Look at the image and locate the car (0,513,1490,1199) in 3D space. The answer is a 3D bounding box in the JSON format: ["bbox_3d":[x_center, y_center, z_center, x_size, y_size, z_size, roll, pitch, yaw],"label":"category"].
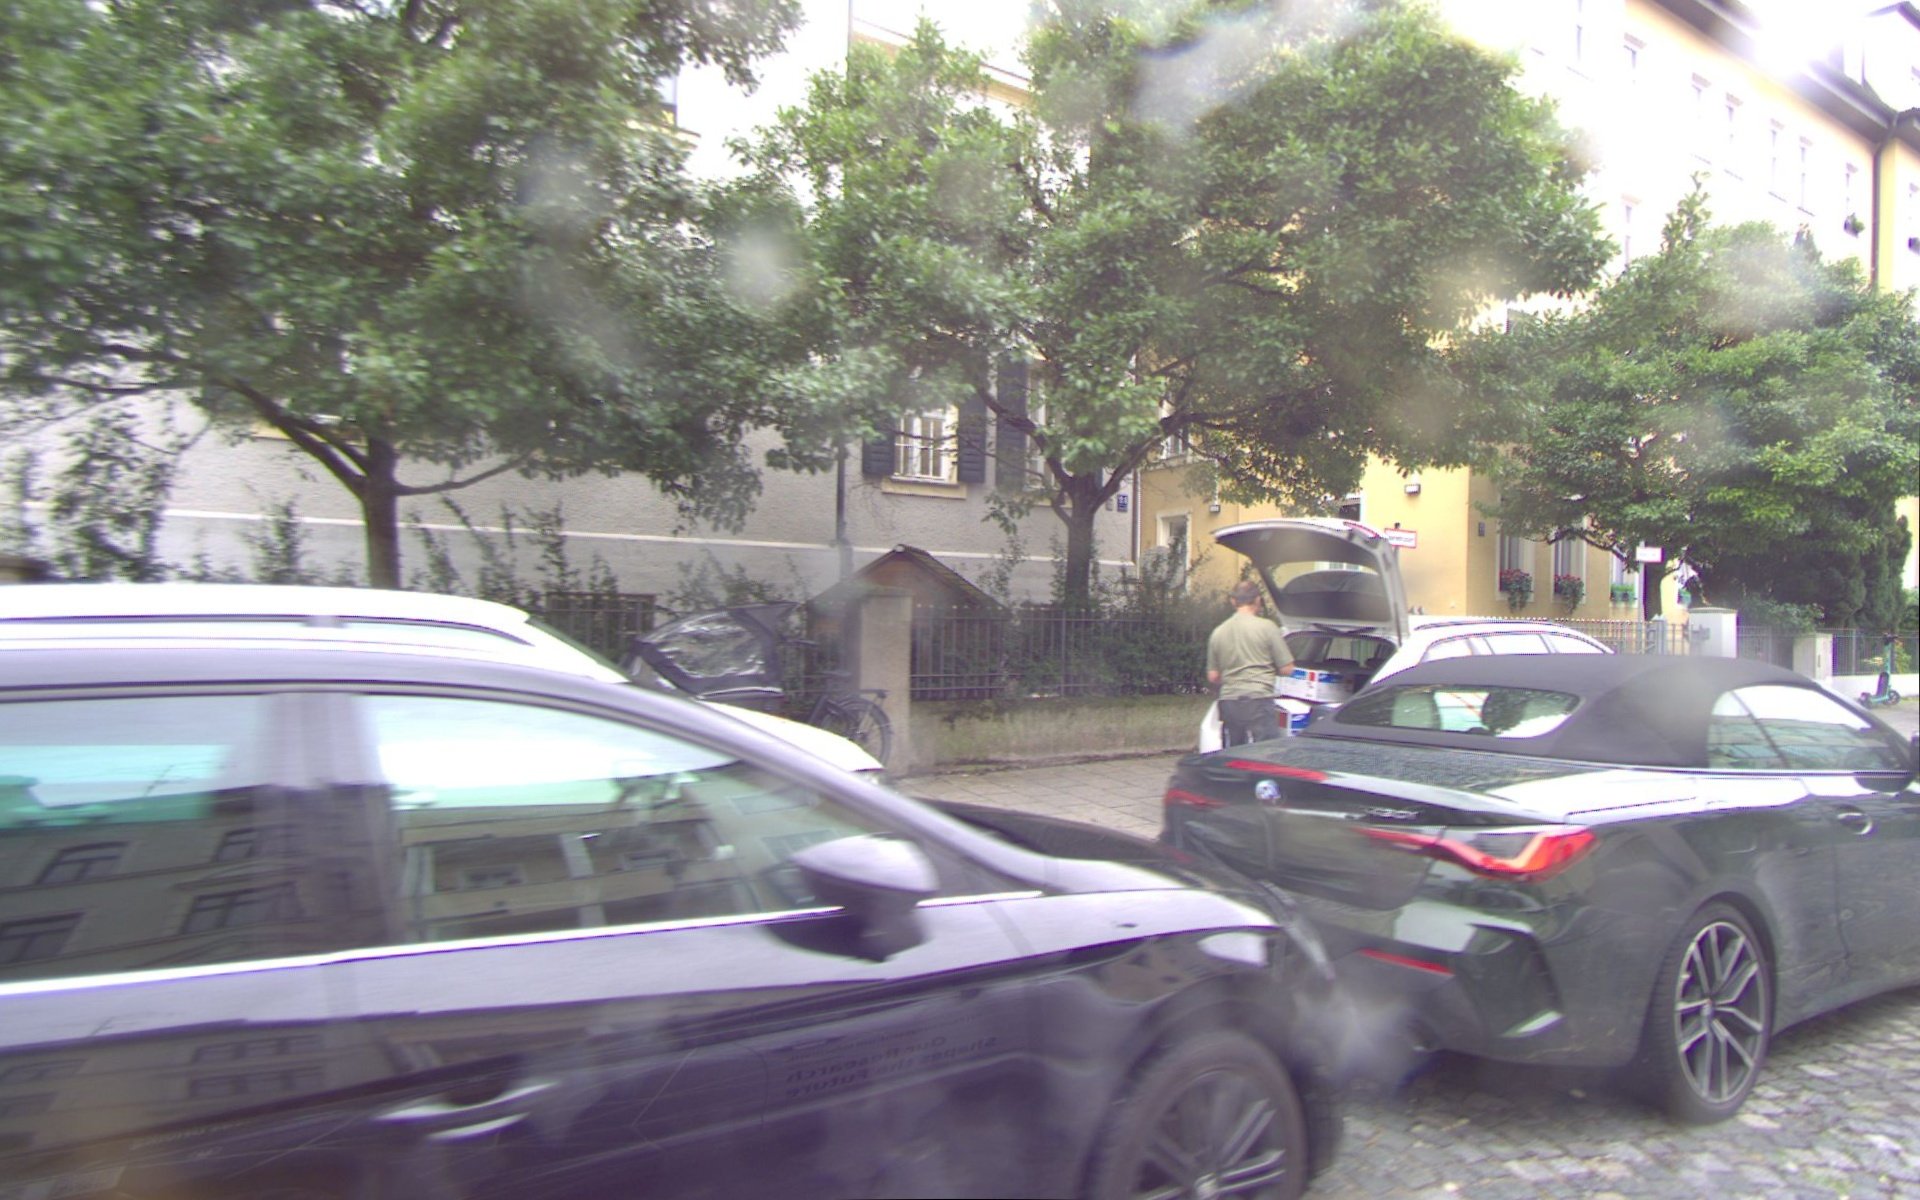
[{"bbox_3d":[-1.029,0.749,2.079,4.486,1.624,1.731,1,-2,-31],"label":"car"}]

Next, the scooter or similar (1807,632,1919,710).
[{"bbox_3d":[15.432,1.187,17.166,1.504,1.216,0.951,1,2,-30],"label":"scooter or similar"}]

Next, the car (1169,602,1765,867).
[{"bbox_3d":[3.893,0.803,7.519,4.507,1.436,1.767,1,1,-30],"label":"car"}]

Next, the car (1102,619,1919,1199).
[{"bbox_3d":[3.107,0.873,4.418,4.854,1.474,1.807,1,-3,-30],"label":"car"}]

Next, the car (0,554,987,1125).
[{"bbox_3d":[-2.225,0.651,3.972,4.416,1.557,1.730,2,1,-31],"label":"car"}]

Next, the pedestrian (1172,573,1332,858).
[{"bbox_3d":[1.833,0.677,6.362,0.575,1.672,0.762,1,1,-29],"label":"pedestrian"}]

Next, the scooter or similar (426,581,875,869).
[{"bbox_3d":[-1.962,0.696,6.513,2.604,1.543,1.057,1,0,-30],"label":"scooter or similar"}]
